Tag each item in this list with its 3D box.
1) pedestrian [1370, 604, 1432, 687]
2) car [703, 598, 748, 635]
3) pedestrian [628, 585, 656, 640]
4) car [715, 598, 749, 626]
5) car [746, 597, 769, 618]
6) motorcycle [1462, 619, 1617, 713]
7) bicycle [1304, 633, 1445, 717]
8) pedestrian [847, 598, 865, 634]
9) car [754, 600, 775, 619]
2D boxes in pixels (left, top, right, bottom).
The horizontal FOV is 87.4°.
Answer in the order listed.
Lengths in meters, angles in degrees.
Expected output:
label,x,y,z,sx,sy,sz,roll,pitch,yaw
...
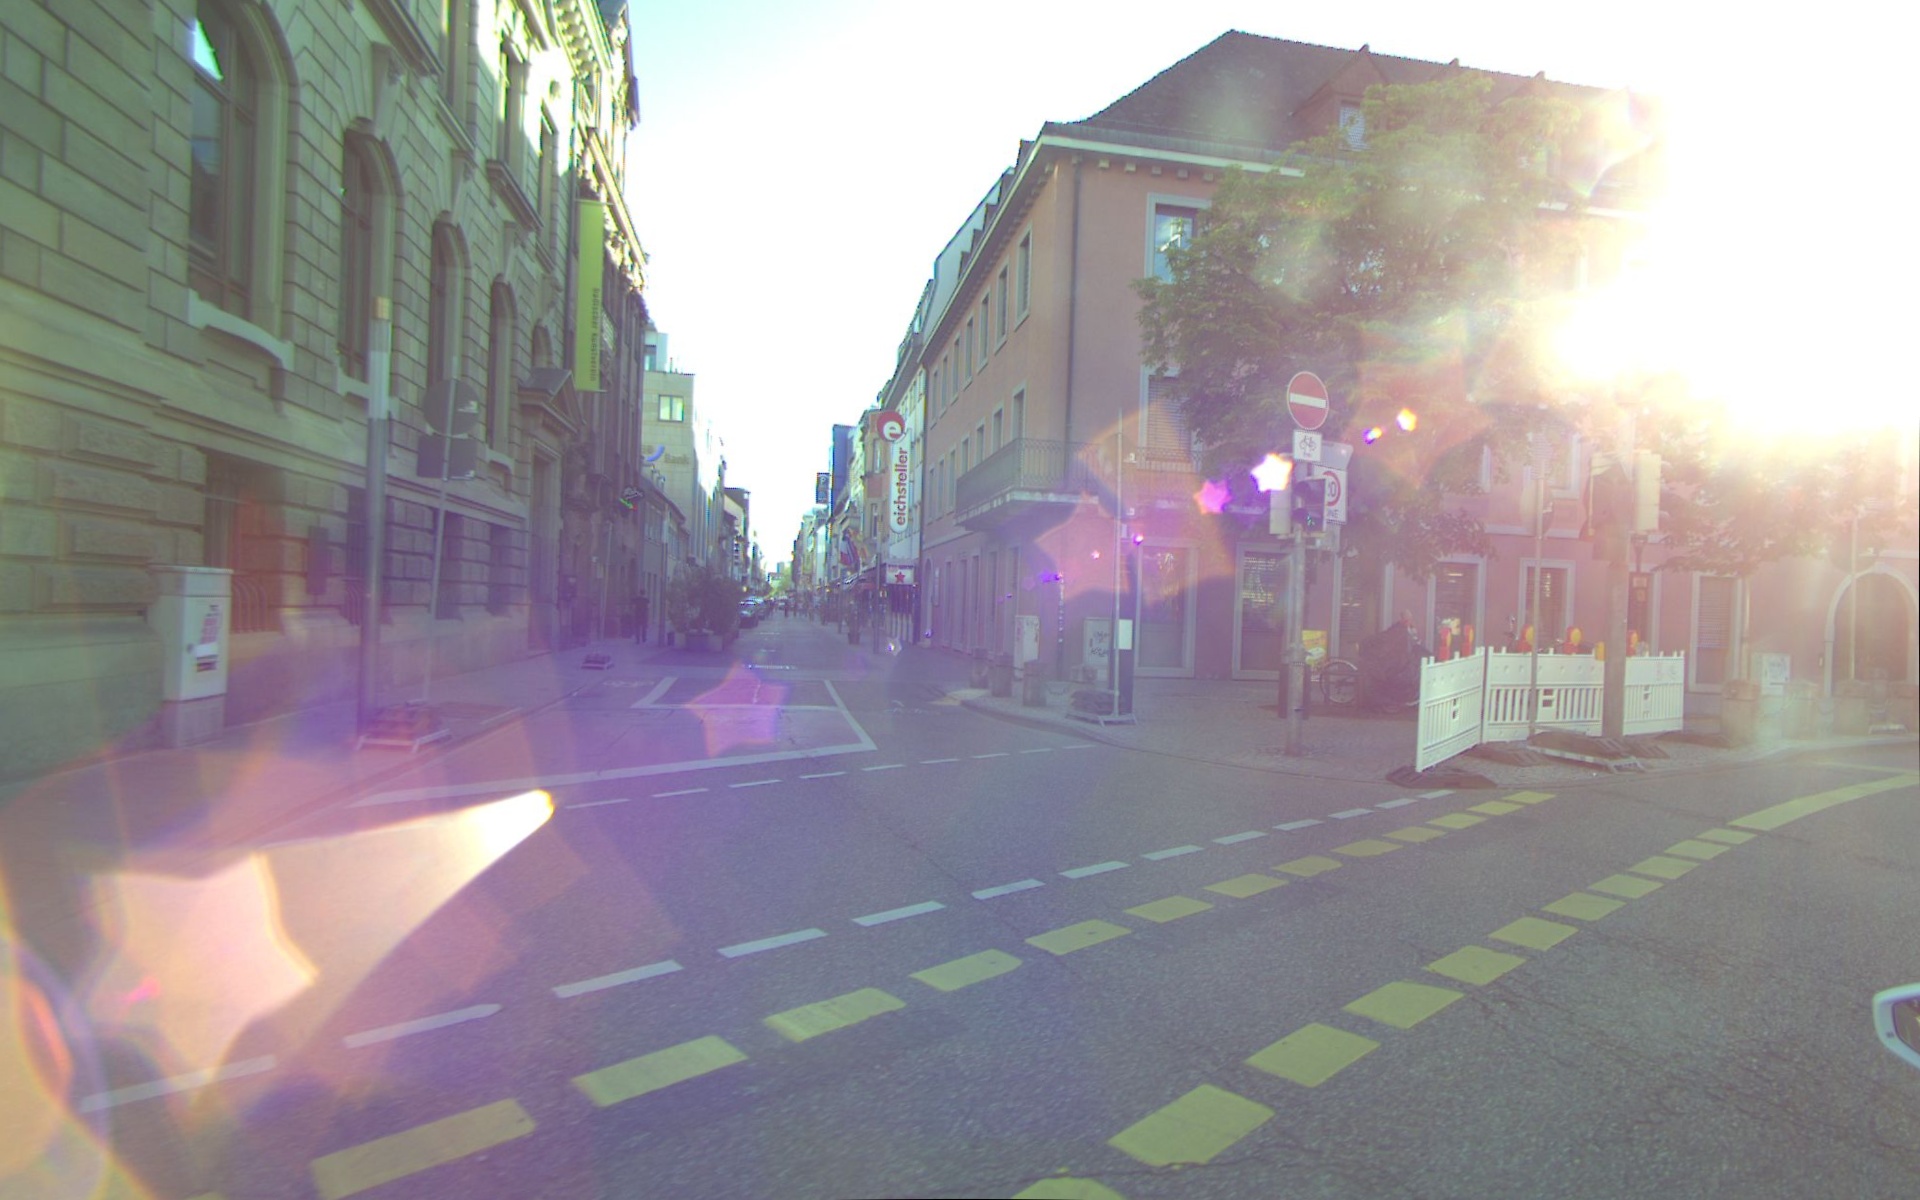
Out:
label,x,y,z,sx,sy,sz,roll,pitch,yaw
pedestrian,9.448,0.967,21.540,0.853,1.711,0.792,2,1,-10
car,-10.312,0.712,44.238,1.803,1.508,3.990,2,-1,-13
pedestrian,-10.348,0.409,32.728,0.763,1.728,0.478,2,0,-12
car,-13.213,0.679,58.100,1.803,1.508,3.990,2,-1,-13
car,-18.397,0.711,91.251,1.965,1.795,3.992,2,0,-11
motorcycle,8.774,0.989,15.199,2.304,1.335,0.810,2,-1,-24
bicycle,6.592,1.167,16.019,1.972,1.222,0.682,0,-3,34
pedestrian,-5.688,0.879,54.847,0.814,1.905,0.777,2,0,-12
car,-19.349,0.915,99.642,1.965,1.795,3.992,2,0,-11
